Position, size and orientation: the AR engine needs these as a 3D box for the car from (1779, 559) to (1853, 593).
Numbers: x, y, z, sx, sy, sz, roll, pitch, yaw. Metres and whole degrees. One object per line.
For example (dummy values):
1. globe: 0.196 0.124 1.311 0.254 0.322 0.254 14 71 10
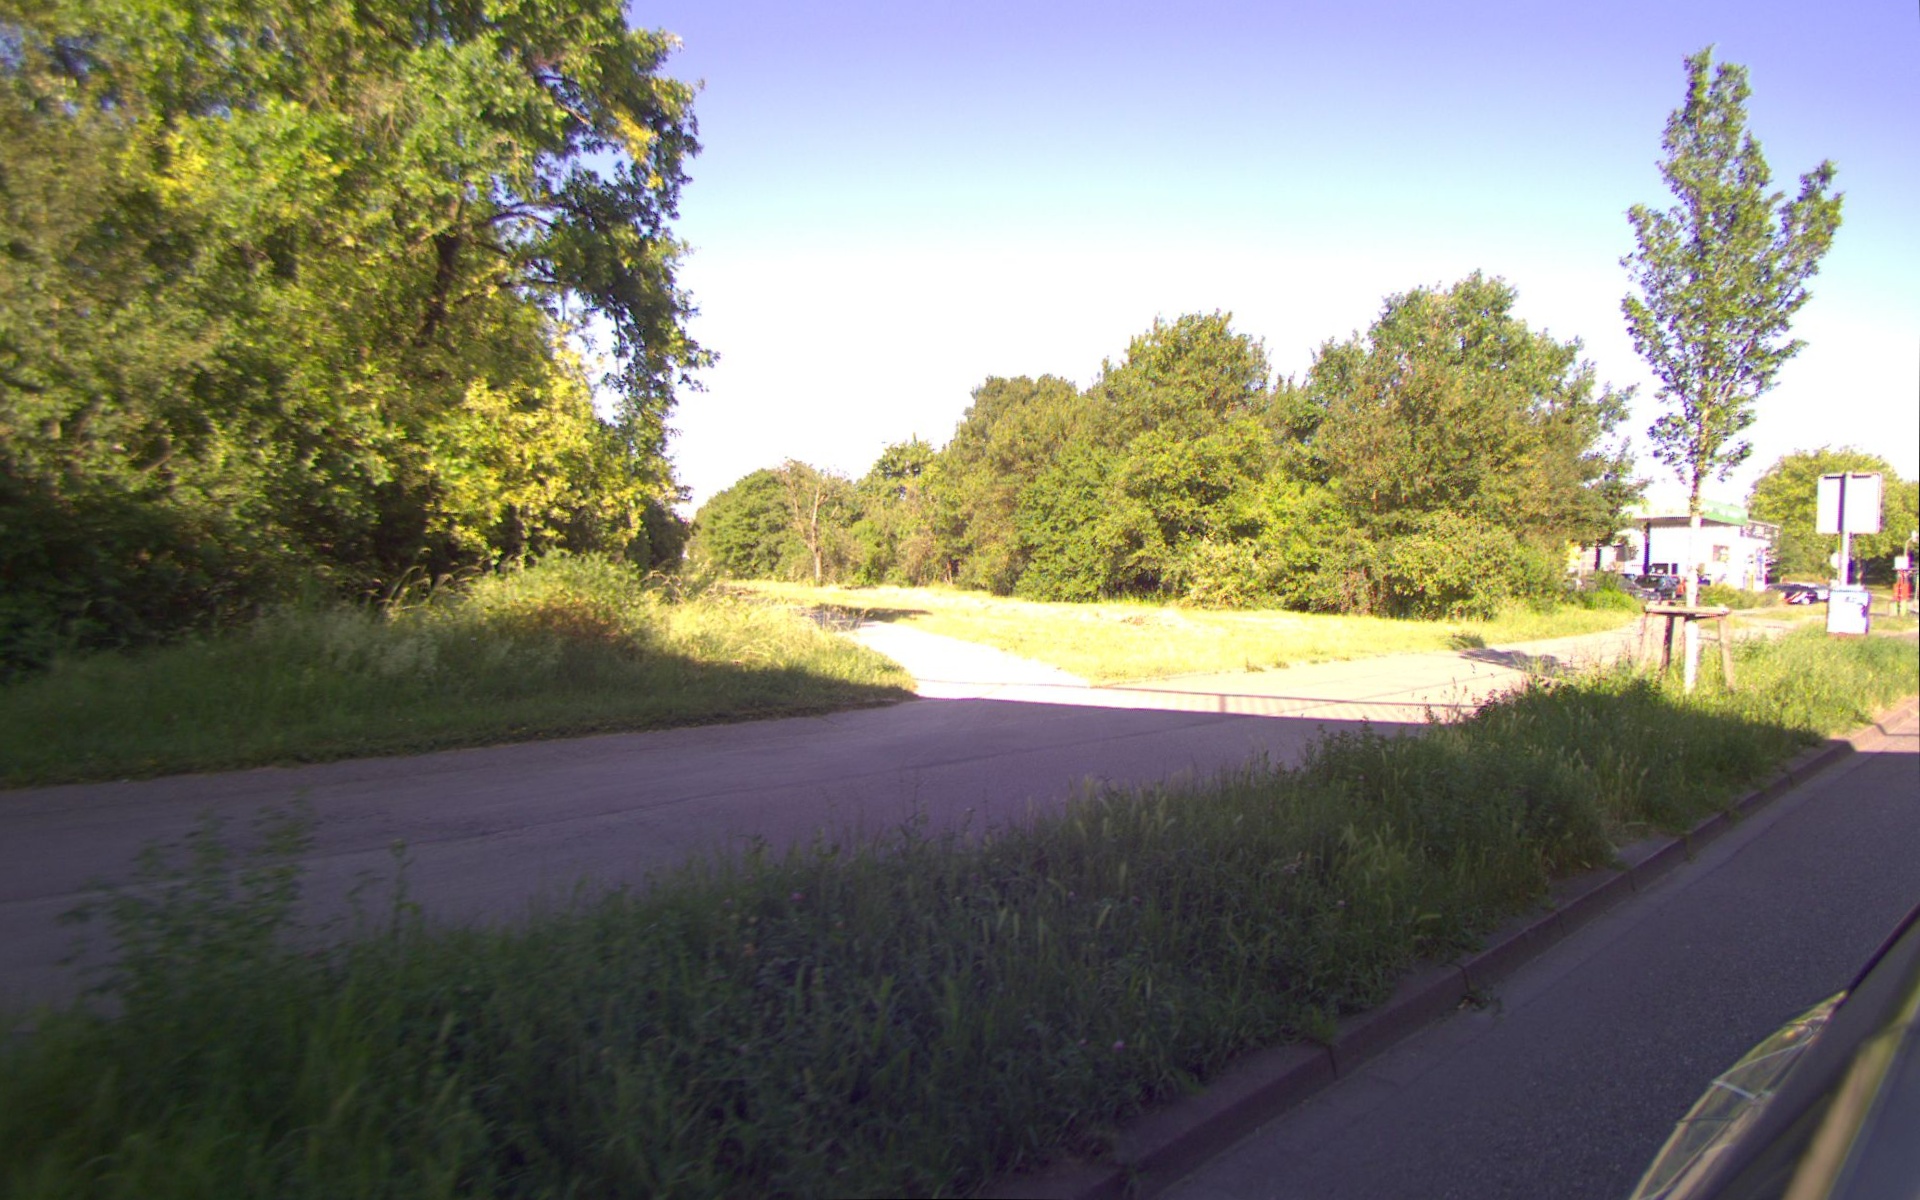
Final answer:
1. car: 66.338 -1.903 78.499 1.652 2.035 4.013 4 7 -9

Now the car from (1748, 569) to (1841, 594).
1. car: 58.942 -1.317 71.525 4.748 1.549 1.900 2 3 3

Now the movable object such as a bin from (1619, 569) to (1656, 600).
1. movable object such as a bin: 32.643 -0.752 48.785 0.972 1.446 1.258 0 0 7

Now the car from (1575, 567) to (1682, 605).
1. car: 33.727 -0.758 51.240 1.764 1.659 4.572 1 4 -11

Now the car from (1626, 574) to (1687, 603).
1. car: 39.770 -0.656 57.736 4.172 1.592 1.749 -1 2 -39

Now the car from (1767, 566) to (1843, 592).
1. car: 63.890 -1.597 76.571 1.690 1.468 3.943 0 8 -29

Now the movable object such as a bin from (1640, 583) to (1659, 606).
1. movable object such as a bin: 32.105 -0.264 47.123 0.572 1.088 0.509 0 0 8

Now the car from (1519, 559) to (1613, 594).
1. car: 27.775 -1.076 46.459 1.740 1.505 3.291 -1 1 -39

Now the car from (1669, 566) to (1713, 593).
1. car: 56.164 -1.617 77.774 4.147 1.883 1.896 -2 6 -43
